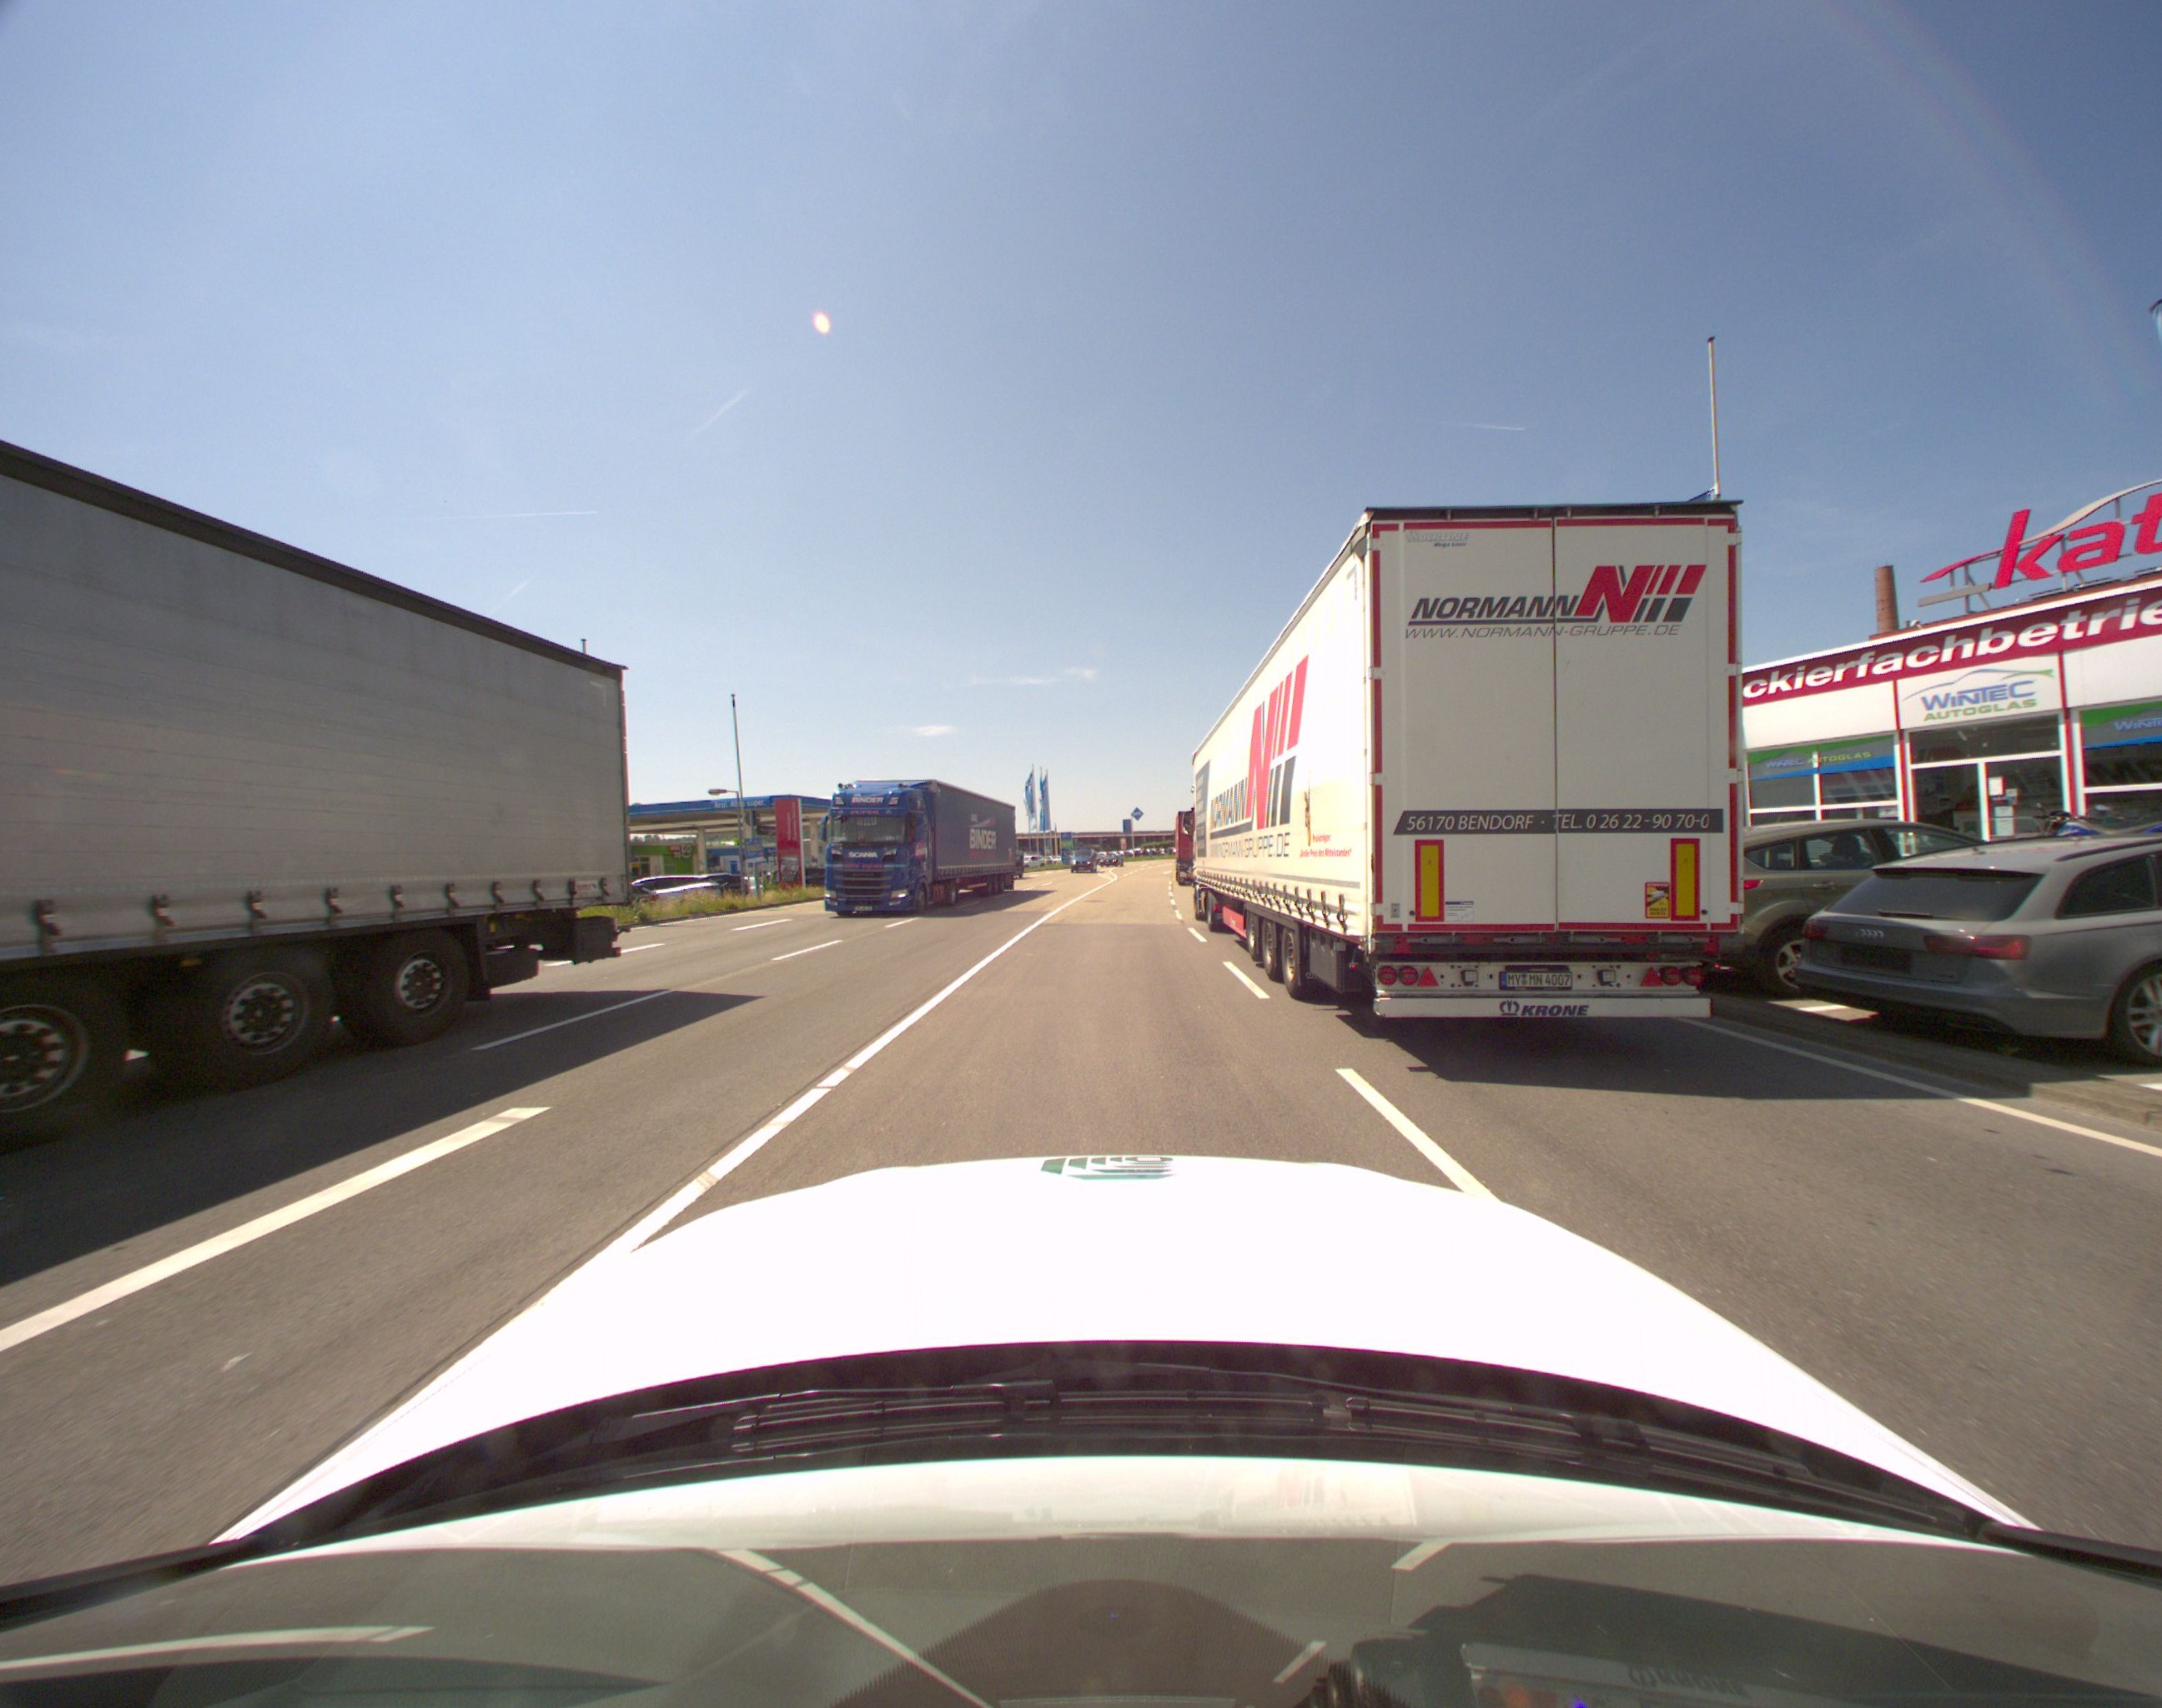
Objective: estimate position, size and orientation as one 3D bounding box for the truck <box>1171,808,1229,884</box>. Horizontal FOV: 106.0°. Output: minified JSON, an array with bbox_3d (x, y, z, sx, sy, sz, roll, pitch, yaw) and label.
[{"bbox_3d":[6.846,-0.403,48.493,2.635,3.806,13.378,-2,0,5],"label":"truck"}]

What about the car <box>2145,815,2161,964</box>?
[{"bbox_3d":[7.864,0.418,3.601,4.012,1.674,2.193,-6,-1,-11],"label":"car"}]

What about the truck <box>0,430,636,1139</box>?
[{"bbox_3d":[-7.371,-0.391,2.228,2.780,3.889,16.487,-1,-1,2],"label":"truck"}]

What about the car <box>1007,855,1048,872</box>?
[{"bbox_3d":[-5.890,1.037,90.249,1.845,1.712,4.547,-2,-1,39],"label":"car"}]

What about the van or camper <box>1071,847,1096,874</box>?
[{"bbox_3d":[0.233,0.542,69.174,1.829,2.138,5.346,-1,0,2],"label":"van or camper"}]

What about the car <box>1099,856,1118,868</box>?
[{"bbox_3d":[2.930,0.827,85.825,1.841,1.271,4.179,-2,0,2],"label":"car"}]

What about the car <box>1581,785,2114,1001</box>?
[{"bbox_3d":[8.051,0.385,8.895,3.841,1.691,1.944,-6,0,1],"label":"car"}]

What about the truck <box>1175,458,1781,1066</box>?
[{"bbox_3d":[3.709,-0.566,14.390,2.961,4.094,17.649,-1,0,3],"label":"truck"}]

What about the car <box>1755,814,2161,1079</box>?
[{"bbox_3d":[8.016,0.533,6.272,4.125,1.422,1.791,-6,0,-2],"label":"car"}]

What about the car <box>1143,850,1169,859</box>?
[{"bbox_3d":[12.816,0.065,138.577,3.948,1.317,1.845,-3,0,33],"label":"car"}]

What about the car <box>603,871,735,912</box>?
[{"bbox_3d":[-14.990,1.339,29.879,4.189,1.248,1.767,-2,0,-25],"label":"car"}]

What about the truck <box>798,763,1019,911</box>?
[{"bbox_3d":[-5.265,-0.364,30.172,2.830,3.889,17.032,-1,-1,6],"label":"truck"}]

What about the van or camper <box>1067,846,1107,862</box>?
[{"bbox_3d":[0.754,0.044,104.602,4.818,1.905,1.909,-1,-1,9],"label":"van or camper"}]

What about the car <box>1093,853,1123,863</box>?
[{"bbox_3d":[4.111,0.663,124.379,4.195,1.359,2.013,-2,0,33],"label":"car"}]

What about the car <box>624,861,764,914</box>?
[{"bbox_3d":[-13.233,1.104,28.085,4.187,1.586,1.768,-2,0,-23],"label":"car"}]

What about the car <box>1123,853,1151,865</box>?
[{"bbox_3d":[8.981,0.808,131.205,3.948,1.750,2.013,-2,-1,35],"label":"car"}]

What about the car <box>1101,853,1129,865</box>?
[{"bbox_3d":[5.347,0.759,127.363,3.948,1.750,1.947,-2,0,35],"label":"car"}]
